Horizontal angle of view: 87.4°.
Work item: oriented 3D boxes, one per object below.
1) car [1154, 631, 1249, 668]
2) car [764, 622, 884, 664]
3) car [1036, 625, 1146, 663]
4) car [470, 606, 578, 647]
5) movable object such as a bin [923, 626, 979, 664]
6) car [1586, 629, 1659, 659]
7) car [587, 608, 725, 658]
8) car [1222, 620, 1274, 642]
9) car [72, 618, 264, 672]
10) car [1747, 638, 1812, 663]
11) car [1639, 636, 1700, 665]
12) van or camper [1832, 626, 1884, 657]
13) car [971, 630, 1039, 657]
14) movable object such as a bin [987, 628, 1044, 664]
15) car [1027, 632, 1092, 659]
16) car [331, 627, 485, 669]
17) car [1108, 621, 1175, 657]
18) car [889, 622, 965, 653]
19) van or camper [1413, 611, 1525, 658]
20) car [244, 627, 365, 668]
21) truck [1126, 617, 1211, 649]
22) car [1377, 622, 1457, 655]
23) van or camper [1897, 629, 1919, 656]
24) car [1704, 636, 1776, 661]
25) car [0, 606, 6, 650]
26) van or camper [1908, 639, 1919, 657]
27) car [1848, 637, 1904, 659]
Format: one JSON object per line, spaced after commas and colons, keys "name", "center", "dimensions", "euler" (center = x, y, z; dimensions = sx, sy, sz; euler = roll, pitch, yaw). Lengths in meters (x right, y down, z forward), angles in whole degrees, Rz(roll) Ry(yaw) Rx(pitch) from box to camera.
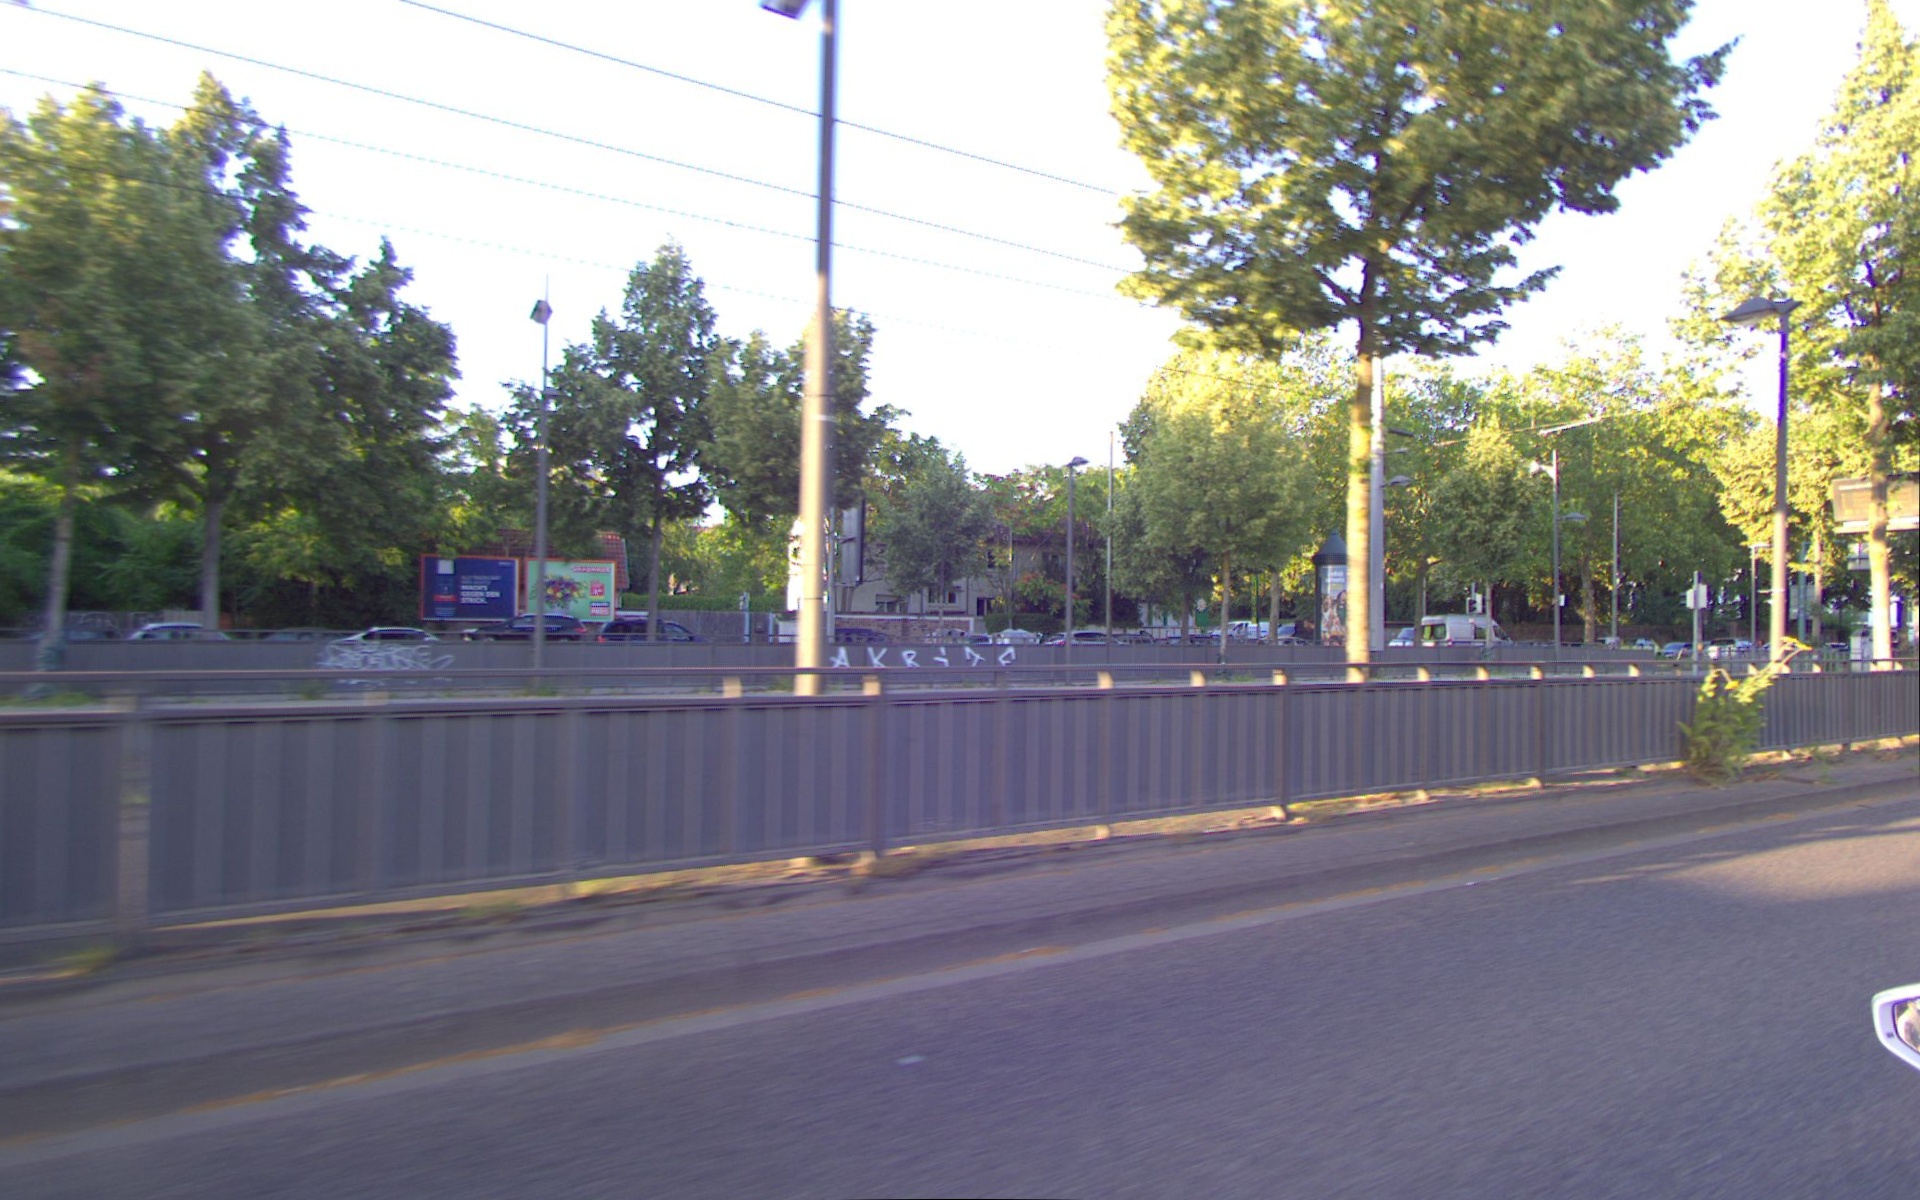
{"name": "car", "center": [10.807, 2.212, 44.948], "dimensions": [4.003, 1.551, 1.802], "euler": [1, -1, -29]}
{"name": "car", "center": [-5.013, 1.588, 37.096], "dimensions": [3.951, 1.468, 1.985], "euler": [1, -1, -29]}
{"name": "car", "center": [5.548, 1.829, 42.447], "dimensions": [4.246, 1.520, 1.985], "euler": [1, -1, -29]}
{"name": "car", "center": [-17.754, 1.099, 40.955], "dimensions": [3.946, 1.572, 1.988], "euler": [1, -1, -25]}
{"name": "movable object such as a bin", "center": [-0.358, 1.719, 38.853], "dimensions": [1.680, 1.430, 1.403], "euler": [1, -1, -28]}
{"name": "car", "center": [38.519, 2.550, 58.425], "dimensions": [3.952, 1.661, 1.985], "euler": [2, -1, -29]}
{"name": "car", "center": [-10.429, 1.130, 34.489], "dimensions": [4.244, 1.606, 1.985], "euler": [1, -1, -29]}
{"name": "car", "center": [24.056, 2.597, 83.966], "dimensions": [3.953, 1.773, 1.984], "euler": [1, -1, -30]}
{"name": "car", "center": [-22.447, 1.267, 28.680], "dimensions": [3.949, 1.426, 1.986], "euler": [1, -1, -28]}
{"name": "car", "center": [54.054, 3.328, 66.257], "dimensions": [4.254, 1.519, 1.891], "euler": [2, -2, -29]}
{"name": "car", "center": [53.341, 3.790, 75.523], "dimensions": [3.943, 2.040, 1.989], "euler": [1, -1, -23]}
{"name": "van or camper", "center": [81.289, 3.756, 90.924], "dimensions": [5.433, 2.771, 2.074], "euler": [2, -2, -32]}
{"name": "car", "center": [2.267, 2.177, 50.696], "dimensions": [3.060, 1.329, 1.535], "euler": [1, -1, -28]}
{"name": "movable object such as a bin", "center": [2.210, 1.835, 40.097], "dimensions": [1.703, 1.390, 1.546], "euler": [1, -1, -28]}
{"name": "car", "center": [5.220, 2.365, 52.535], "dimensions": [3.060, 1.329, 1.535], "euler": [1, -1, -28]}
{"name": "car", "center": [-17.078, 1.471, 31.257], "dimensions": [4.039, 1.217, 1.985], "euler": [1, -1, -29]}
{"name": "car", "center": [10.976, 2.334, 60.985], "dimensions": [1.974, 2.040, 3.972], "euler": [1, -1, -27]}
{"name": "car", "center": [-1.601, 1.837, 49.235], "dimensions": [3.364, 1.449, 1.639], "euler": [1, -1, -29]}
{"name": "van or camper", "center": [26.898, 1.836, 53.072], "dimensions": [5.705, 2.396, 2.277], "euler": [1, -1, -25]}
{"name": "car", "center": [-24.403, 1.764, 37.548], "dimensions": [3.614, 1.467, 1.712], "euler": [2, -2, -29]}
{"name": "truck", "center": [11.365, 1.802, 54.770], "dimensions": [4.237, 1.712, 1.987], "euler": [1, -1, -27]}
{"name": "car", "center": [29.284, 2.454, 64.381], "dimensions": [4.993, 2.040, 1.987], "euler": [1, -1, -27]}
{"name": "van or camper", "center": [116.622, 5.191, 121.540], "dimensions": [6.180, 3.126, 2.701], "euler": [2, -1, -26]}
{"name": "car", "center": [49.265, 3.056, 63.429], "dimensions": [4.502, 1.518, 1.985], "euler": [2, -2, -29]}
{"name": "car", "center": [-34.294, 0.914, 33.158], "dimensions": [3.596, 1.520, 1.818], "euler": [1, -1, -26]}
{"name": "van or camper", "center": [98.351, 4.881, 101.151], "dimensions": [1.983, 1.815, 3.955], "euler": [2, -2, -39]}
{"name": "car", "center": [69.082, 3.634, 75.773], "dimensions": [3.785, 1.581, 1.798], "euler": [2, -2, -25]}
